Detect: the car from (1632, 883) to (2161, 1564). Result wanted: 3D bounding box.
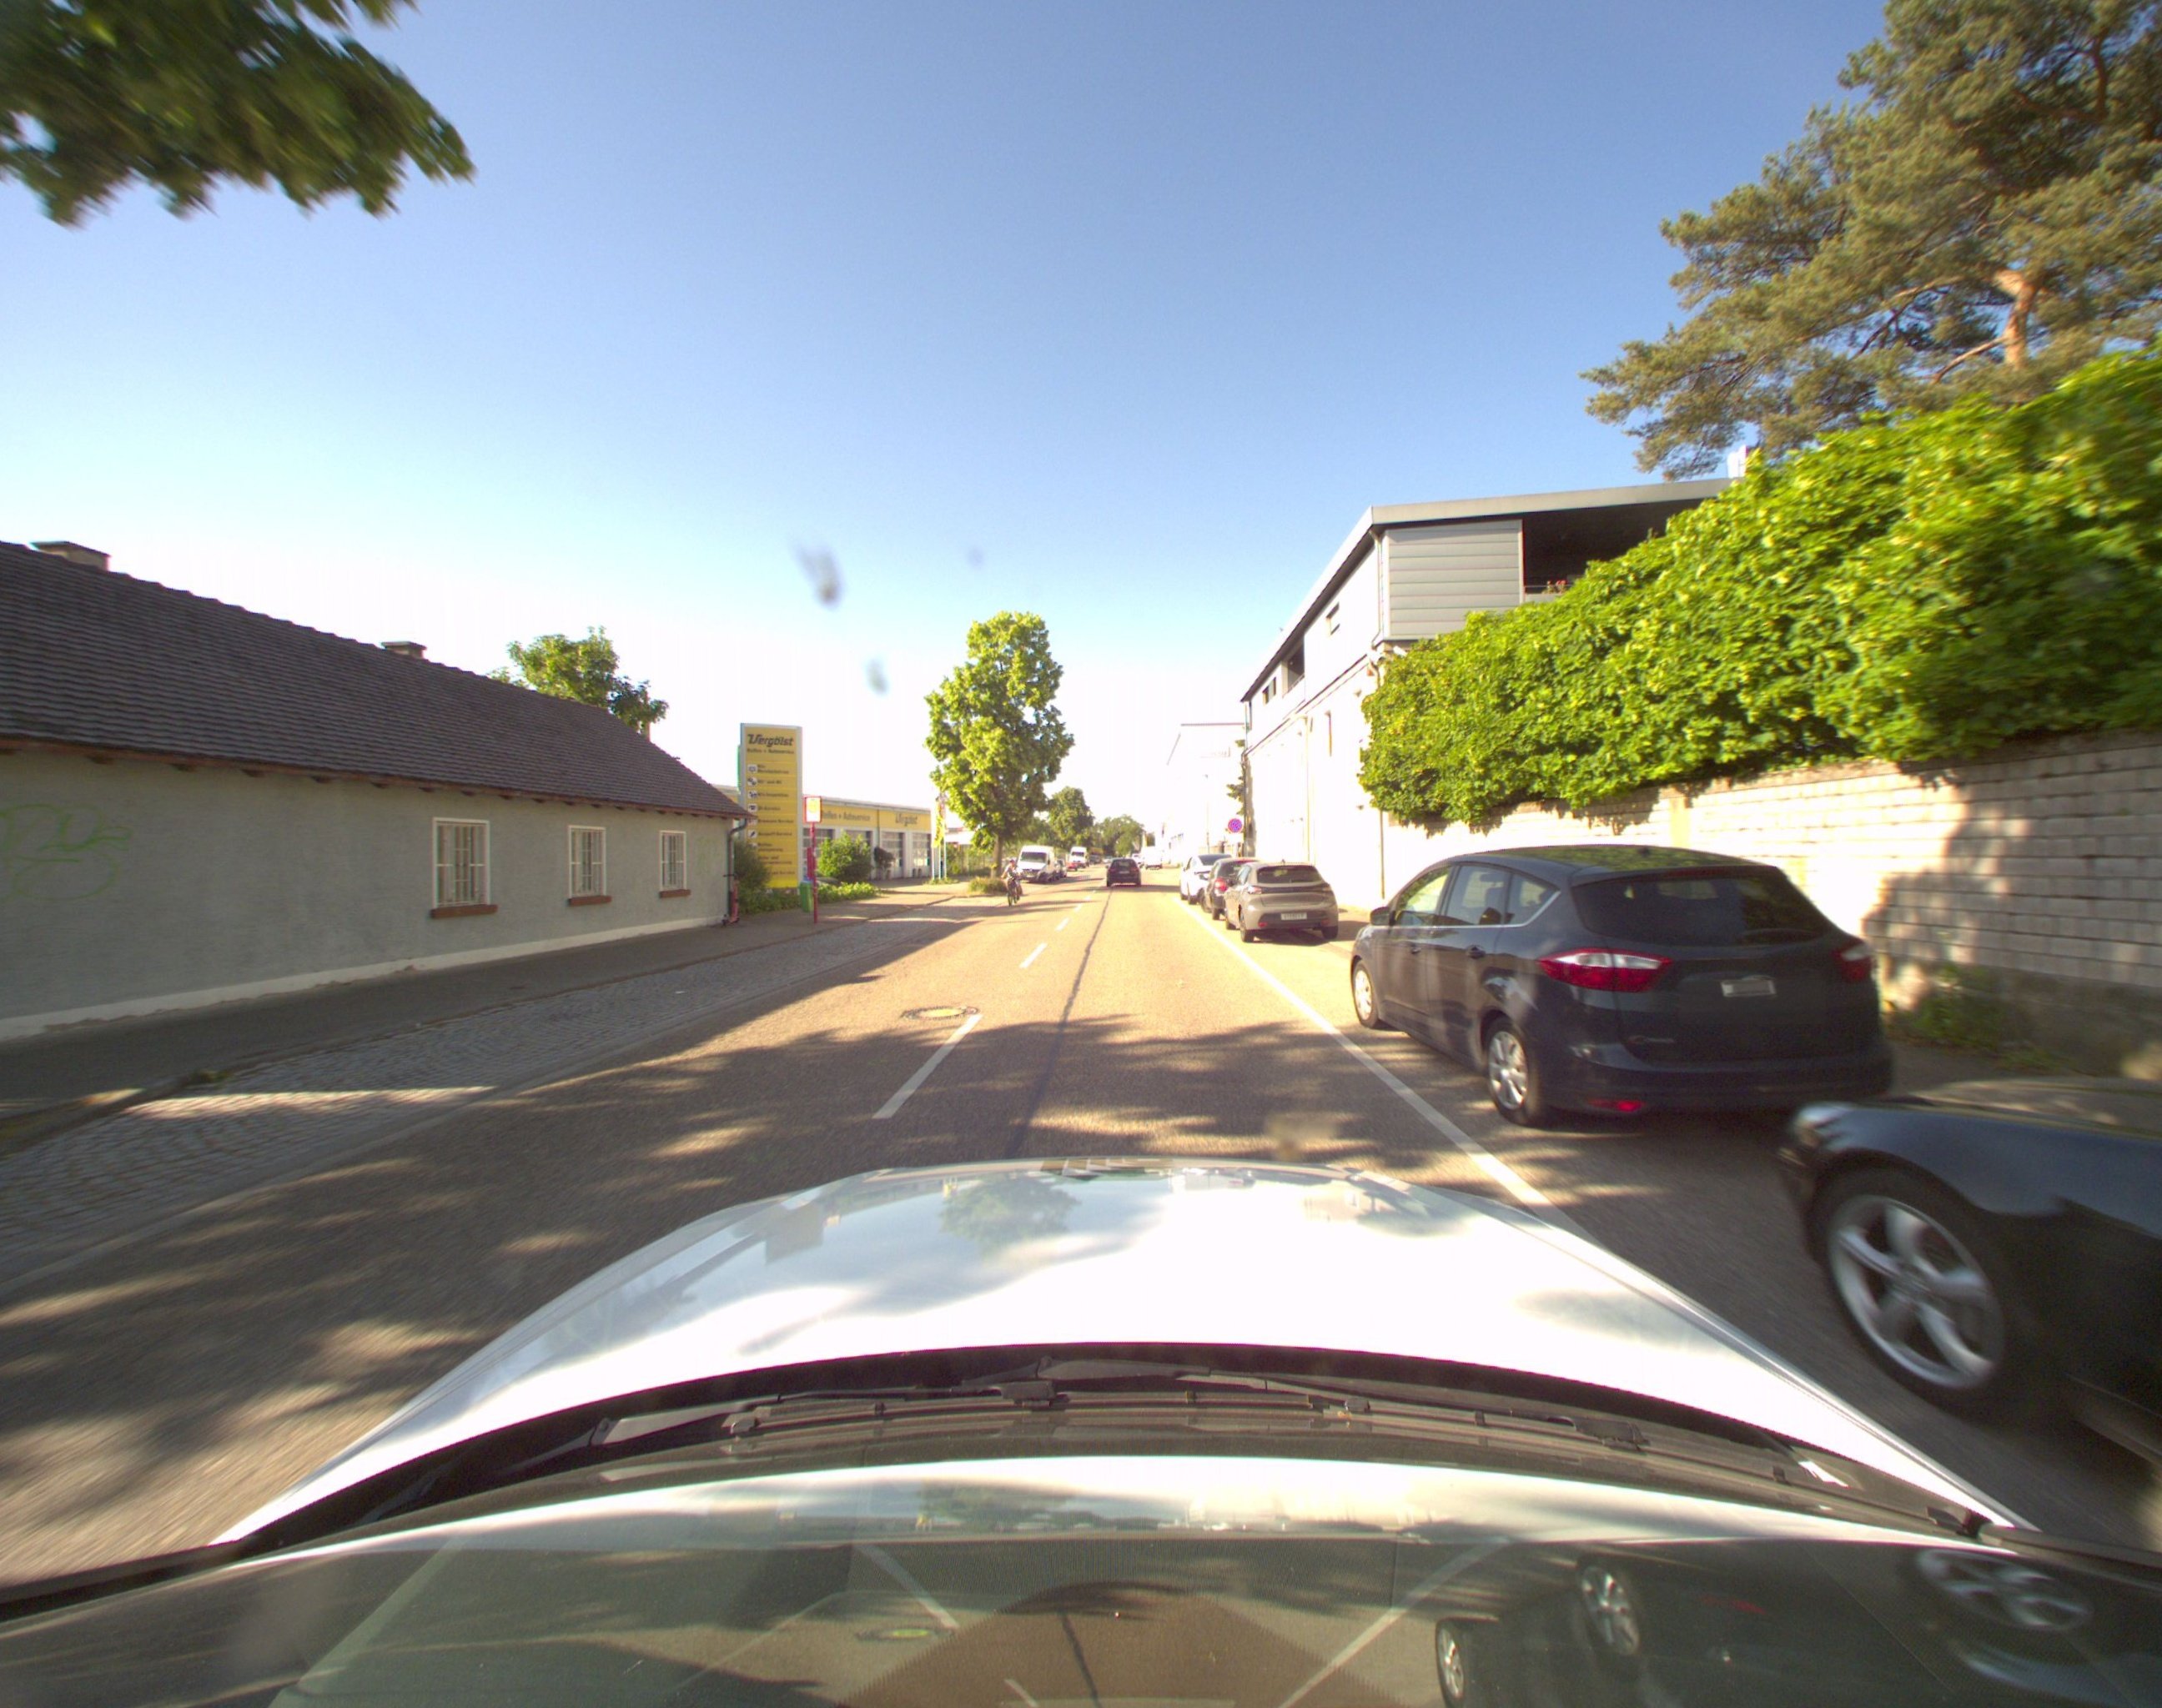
[{"bbox_3d":[3.079,0.816,1.314,1.648,1.318,4.105,-2,0,1],"label":"car"}]

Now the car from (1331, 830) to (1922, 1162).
[{"bbox_3d":[3.306,0.684,6.074,1.675,1.613,4.206,0,0,1],"label":"car"}]

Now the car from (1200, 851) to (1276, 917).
[{"bbox_3d":[4.008,0.705,21.300,1.590,1.473,4.197,-2,0,7],"label":"car"}]

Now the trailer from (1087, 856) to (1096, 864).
[{"bbox_3d":[1.797,0.935,138.648,1.471,1.354,3.081,0,0,3],"label":"trailer"}]

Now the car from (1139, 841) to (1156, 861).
[{"bbox_3d":[9.170,-0.450,112.705,1.986,2.597,6.053,-4,1,2],"label":"car"}]

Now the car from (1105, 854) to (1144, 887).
[{"bbox_3d":[2.258,0.823,42.046,1.839,1.530,4.004,-2,0,3],"label":"car"}]

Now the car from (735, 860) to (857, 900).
[{"bbox_3d":[-11.714,1.066,33.551,4.311,1.508,2.009,-2,0,17],"label":"car"}]

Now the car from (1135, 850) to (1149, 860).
[{"bbox_3d":[9.233,0.143,124.088,1.887,1.405,5.127,0,0,2],"label":"car"}]

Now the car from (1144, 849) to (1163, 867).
[{"bbox_3d":[7.707,0.418,86.688,1.881,1.832,5.096,-1,0,4],"label":"car"}]

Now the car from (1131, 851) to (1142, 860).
[{"bbox_3d":[11.462,0.331,168.412,1.879,1.797,5.105,0,0,2],"label":"car"}]

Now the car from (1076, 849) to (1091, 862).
[{"bbox_3d":[0.367,0.223,117.449,2.023,1.694,5.108,2,0,1],"label":"car"}]

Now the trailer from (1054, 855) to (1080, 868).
[{"bbox_3d":[-1.388,0.744,85.577,2.366,1.080,6.249,2,1,2],"label":"trailer"}]

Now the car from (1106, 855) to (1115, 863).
[{"bbox_3d":[5.988,1.021,165.378,1.740,1.447,4.363,-2,0,3],"label":"car"}]

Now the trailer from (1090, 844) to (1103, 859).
[{"bbox_3d":[3.808,-0.494,197.740,2.980,3.443,8.163,-2,0,1],"label":"trailer"}]

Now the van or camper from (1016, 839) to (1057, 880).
[{"bbox_3d":[-2.949,0.324,55.442,2.062,2.549,6.408,2,1,3],"label":"van or camper"}]

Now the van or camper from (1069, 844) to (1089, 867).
[{"bbox_3d":[-0.255,0.142,104.268,1.957,2.685,5.955,3,1,4],"label":"van or camper"}]

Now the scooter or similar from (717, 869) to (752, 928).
[{"bbox_3d":[-7.990,1.004,18.805,0.482,1.270,1.570,-1,0,-14],"label":"scooter or similar"}]

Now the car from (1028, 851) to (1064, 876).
[{"bbox_3d":[-2.549,0.689,60.987,1.984,1.738,4.582,2,1,6],"label":"car"}]

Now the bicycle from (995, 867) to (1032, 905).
[{"bbox_3d":[-2.417,1.137,29.442,0.835,1.240,2.608,-3,-1,6],"label":"bicycle"}]

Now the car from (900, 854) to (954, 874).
[{"bbox_3d":[-13.371,0.877,70.971,4.129,1.574,1.923,-2,0,12],"label":"car"}]

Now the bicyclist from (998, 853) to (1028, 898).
[{"bbox_3d":[-2.440,0.763,29.435,0.835,1.542,1.138,-3,-1,5],"label":"bicyclist"}]

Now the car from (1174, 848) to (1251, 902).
[{"bbox_3d":[4.377,0.649,27.880,1.925,1.644,4.771,-2,0,1],"label":"car"}]

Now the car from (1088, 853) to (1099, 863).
[{"bbox_3d":[2.473,0.706,157.058,1.783,1.730,4.808,-2,0,4],"label":"car"}]

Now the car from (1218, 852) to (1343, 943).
[{"bbox_3d":[3.773,0.746,16.061,1.652,1.505,4.035,-2,0,3],"label":"car"}]
